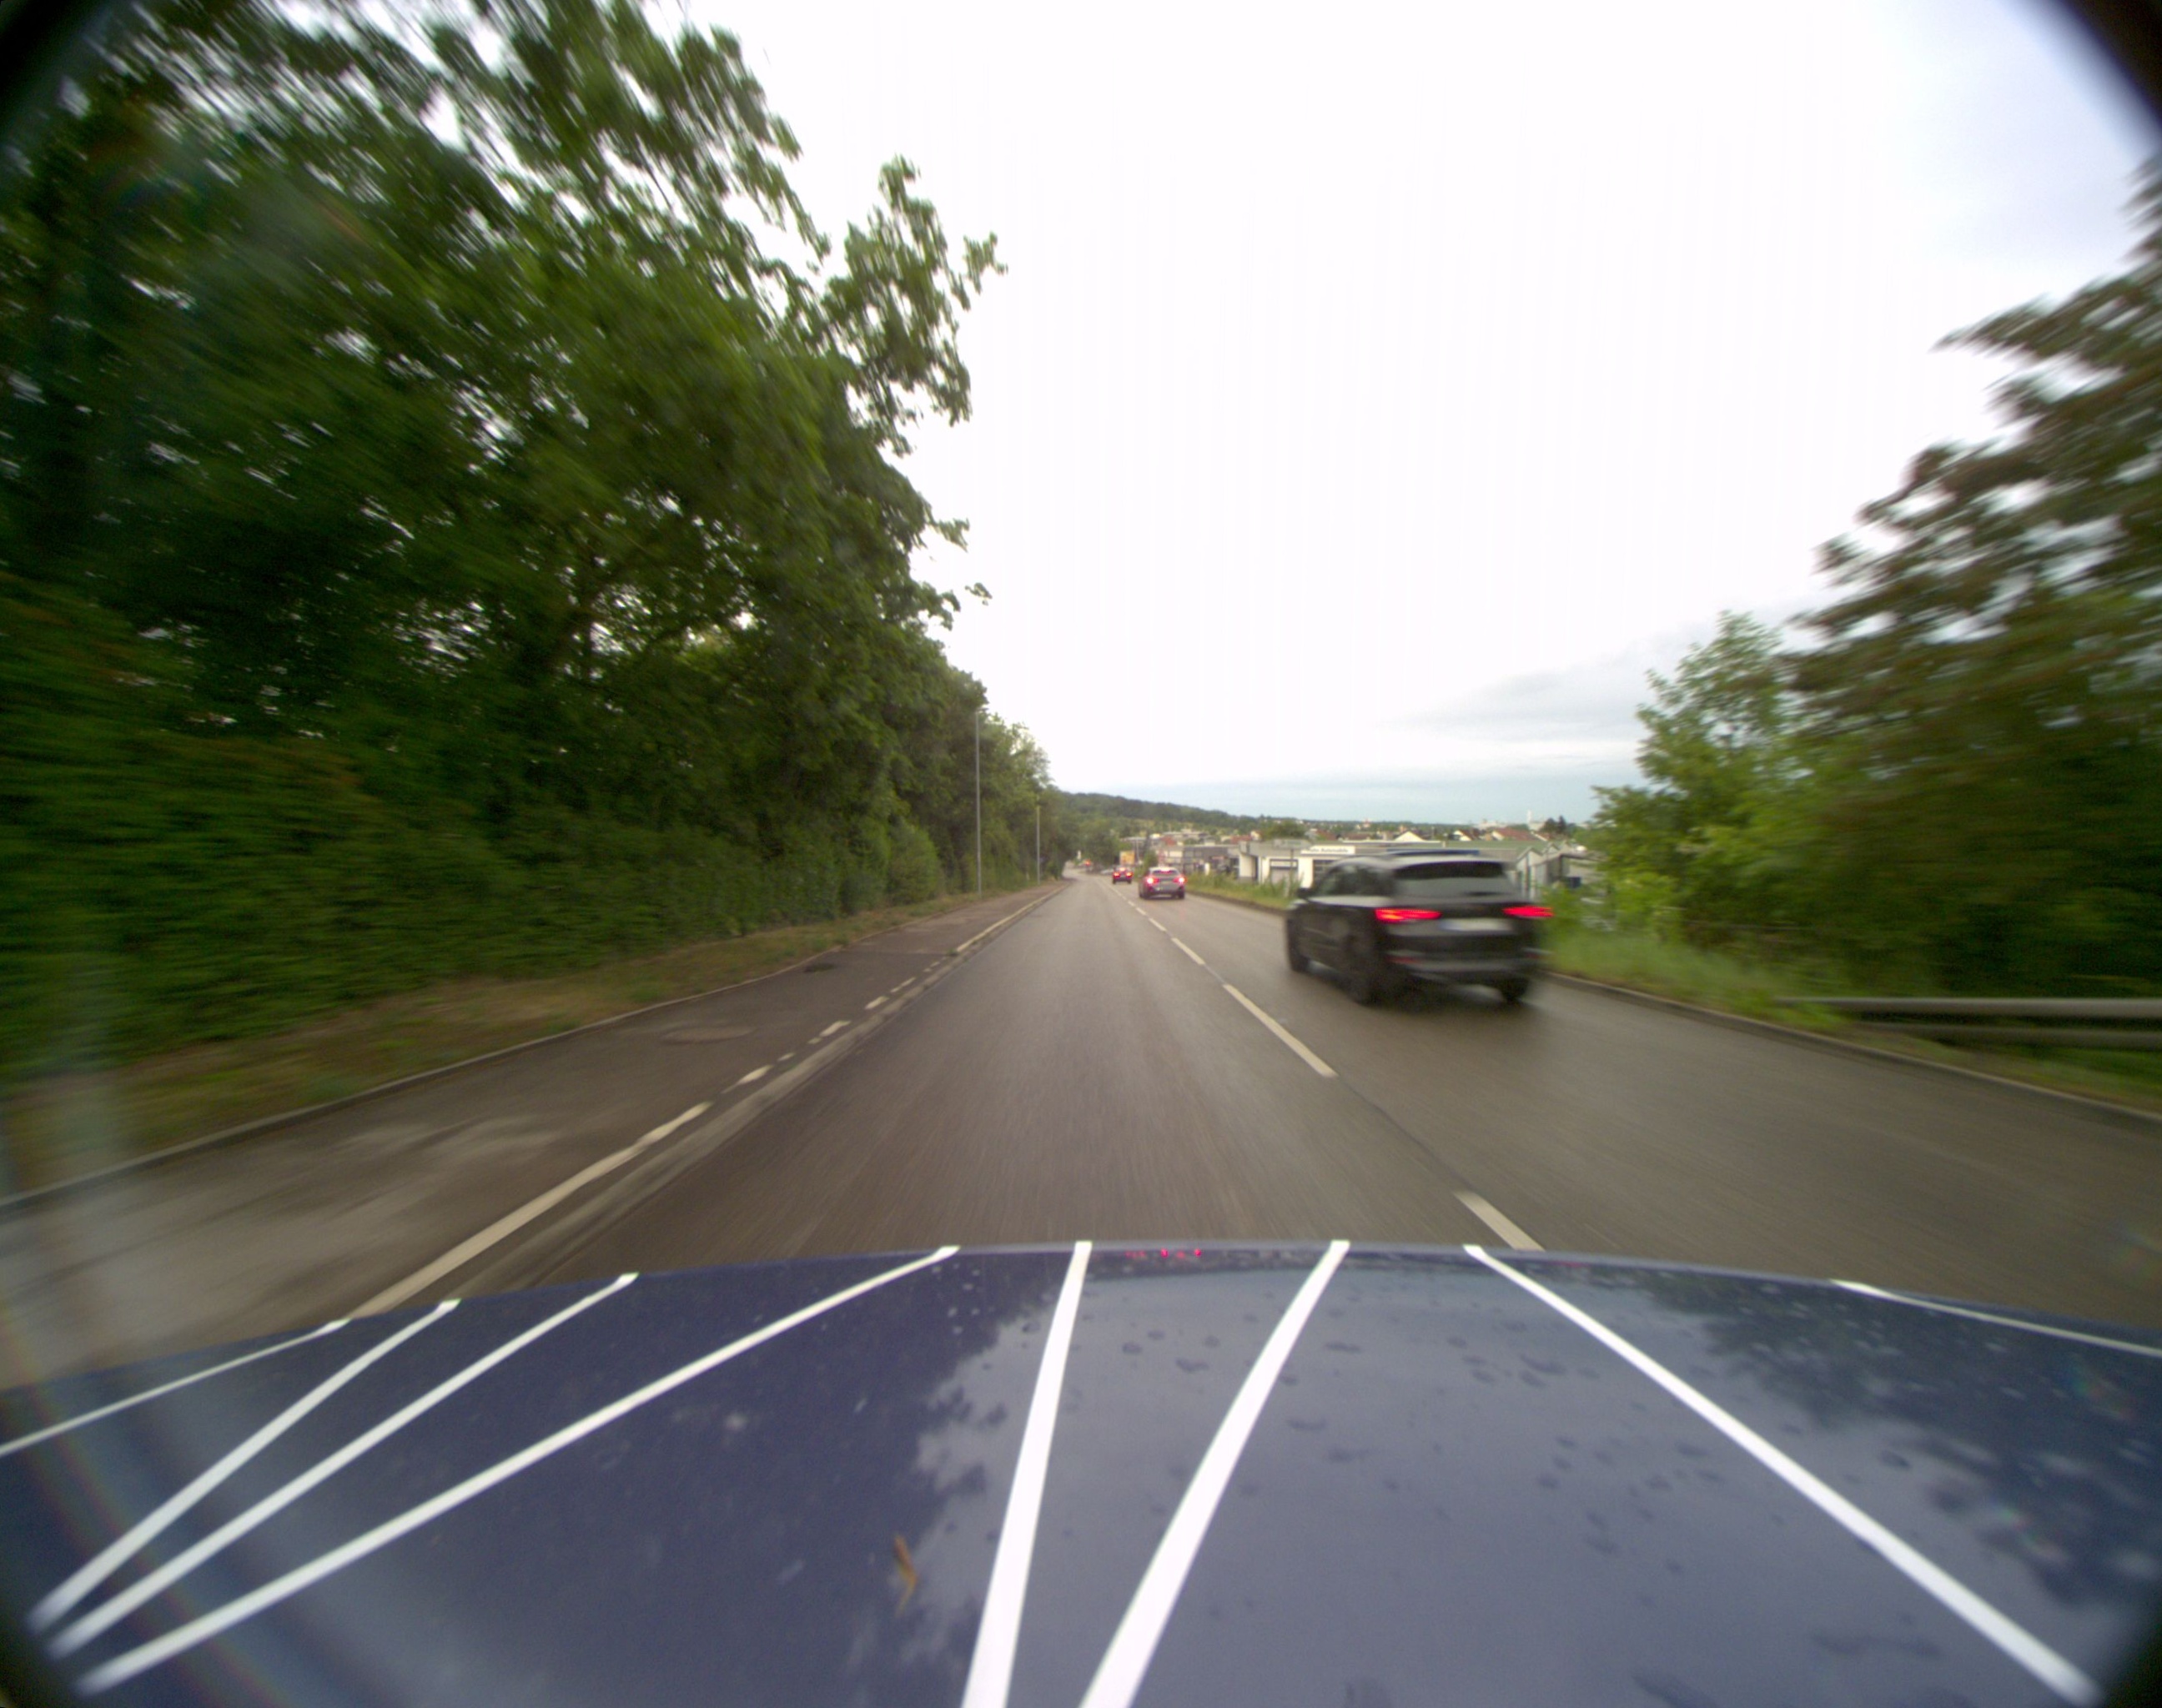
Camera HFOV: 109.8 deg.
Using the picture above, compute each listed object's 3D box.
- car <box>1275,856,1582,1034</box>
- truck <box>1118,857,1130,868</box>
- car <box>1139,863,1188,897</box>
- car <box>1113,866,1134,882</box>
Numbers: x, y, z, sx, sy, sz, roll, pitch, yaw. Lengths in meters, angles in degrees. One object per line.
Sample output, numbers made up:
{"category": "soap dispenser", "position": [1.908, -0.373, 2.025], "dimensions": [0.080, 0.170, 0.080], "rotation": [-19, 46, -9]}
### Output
{"category": "car", "position": [3.673, 0.840, 8.929], "dimensions": [1.734, 1.576, 4.080], "rotation": [-1, 0, 0]}
{"category": "truck", "position": [10.132, 1.962, 178.753], "dimensions": [1.999, 2.617, 7.890], "rotation": [0, 0, -3]}
{"category": "car", "position": [3.912, 1.205, 36.827], "dimensions": [1.866, 1.494, 4.728], "rotation": [-1, 0, 0]}
{"category": "car", "position": [4.410, 2.086, 79.452], "dimensions": [1.873, 1.576, 4.414], "rotation": [-2, 0, 0]}
